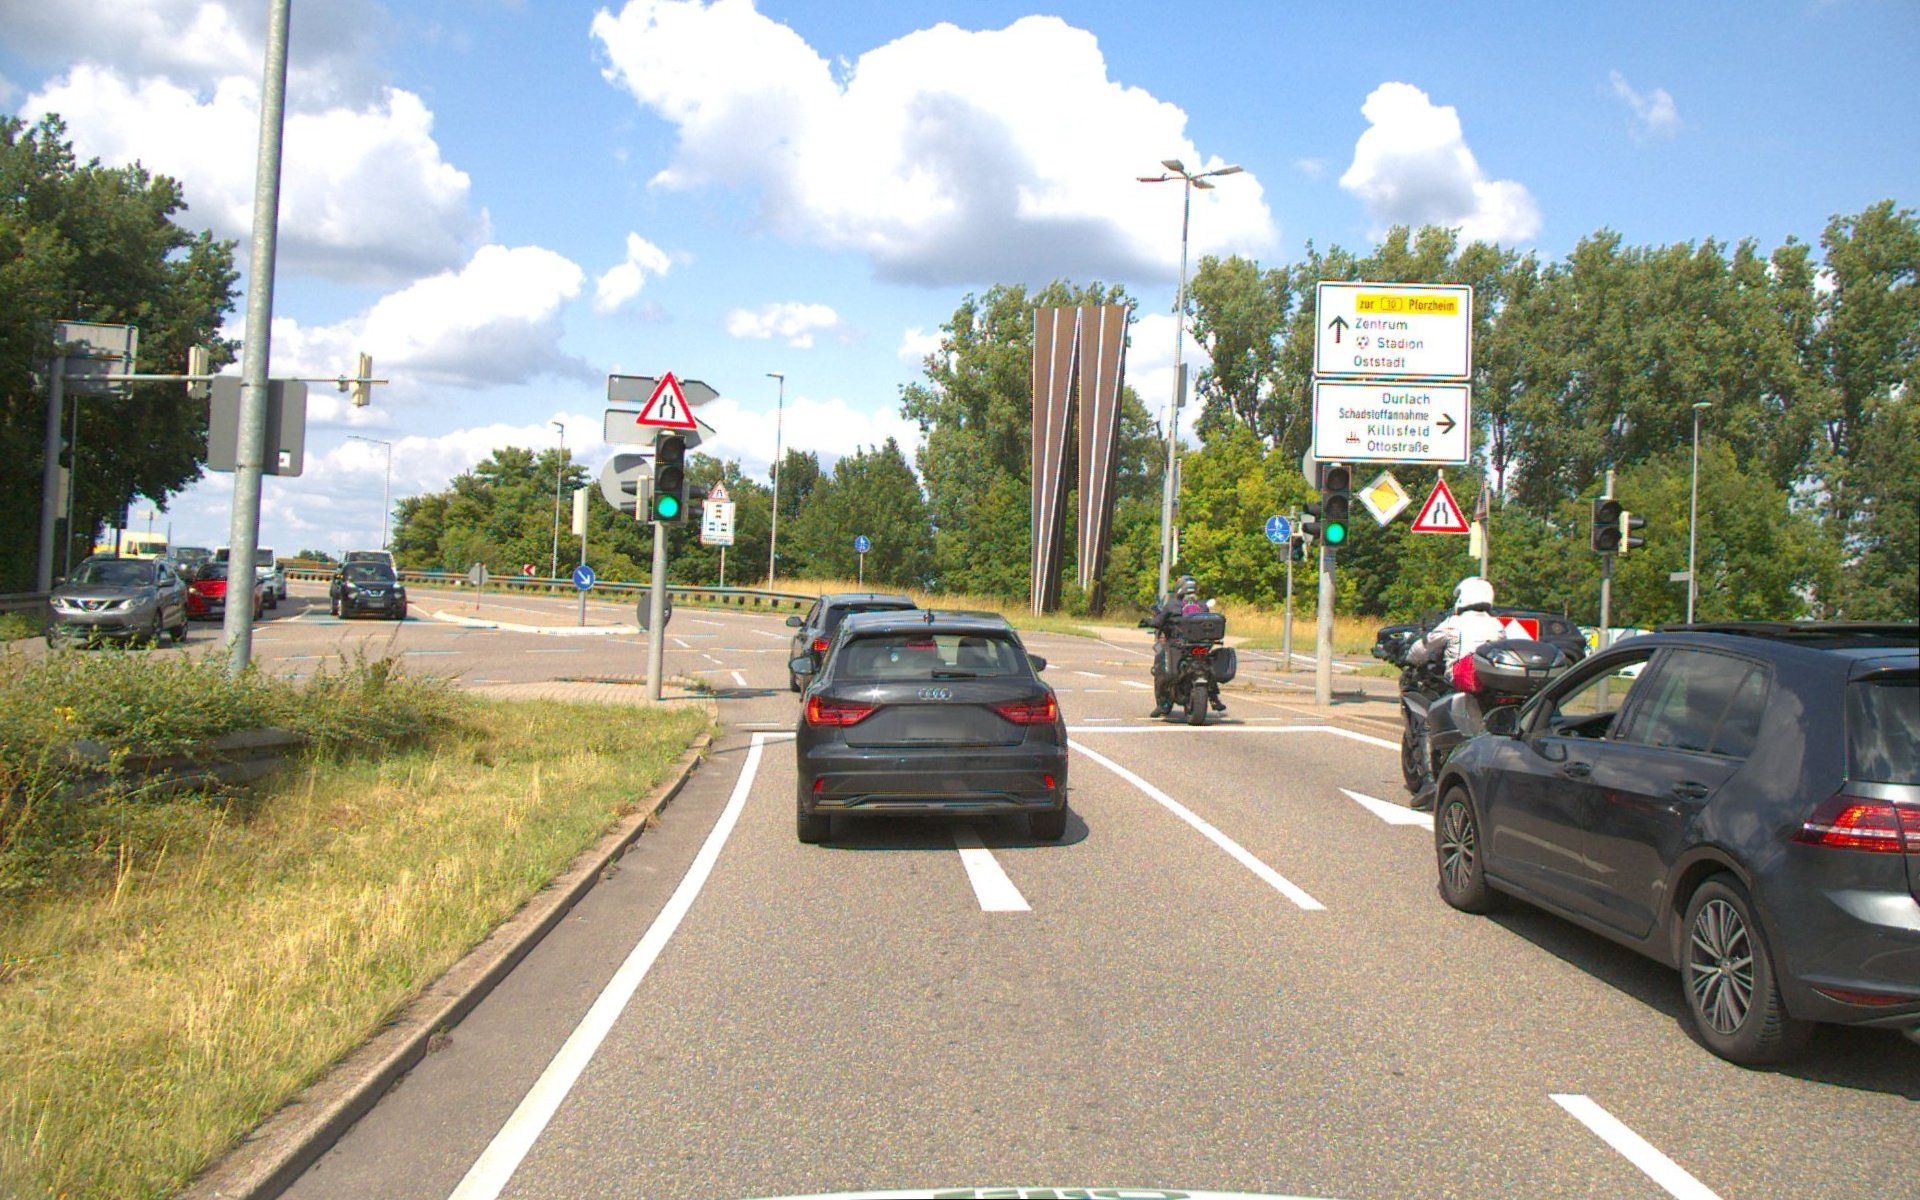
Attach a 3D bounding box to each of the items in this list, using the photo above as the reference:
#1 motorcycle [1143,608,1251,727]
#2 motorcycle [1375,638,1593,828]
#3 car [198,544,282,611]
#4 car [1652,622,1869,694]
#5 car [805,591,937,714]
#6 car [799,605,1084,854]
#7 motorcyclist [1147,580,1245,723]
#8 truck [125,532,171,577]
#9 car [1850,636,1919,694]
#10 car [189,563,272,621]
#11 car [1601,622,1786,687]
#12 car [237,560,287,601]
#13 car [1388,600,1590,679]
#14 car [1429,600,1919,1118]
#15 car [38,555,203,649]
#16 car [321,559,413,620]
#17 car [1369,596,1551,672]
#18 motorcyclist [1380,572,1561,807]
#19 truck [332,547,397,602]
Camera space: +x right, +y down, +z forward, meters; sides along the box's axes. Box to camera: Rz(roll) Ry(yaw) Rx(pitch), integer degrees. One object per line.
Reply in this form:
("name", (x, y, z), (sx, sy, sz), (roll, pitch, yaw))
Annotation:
("motorcycle", (2.776, 0.760, 19.655), (0.869, 1.269, 2.399), (2, 0, -1))
("motorcycle", (3.750, 0.901, 12.086), (0.773, 1.151, 2.399), (2, 0, -1))
("car", (-23.170, -0.715, 53.111), (1.972, 2.049, 5.085), (-1, 1, -29))
("car", (19.261, 1.384, 39.883), (4.438, 1.399, 1.645), (3, 1, -3))
("car", (-1.181, 0.645, 22.511), (1.609, 1.504, 3.870), (1, 0, -2))
("car", (-0.131, 0.762, 11.492), (1.647, 1.412, 3.738), (0, 0, -1))
("motorcyclist", (2.781, 0.593, 19.631), (0.946, 1.624, 1.124), (2, 0, -1))
("truck", (-49.617, -2.803, 101.209), (1.965, 2.666, 6.066), (0, 2, -21))
("car", (26.105, 1.791, 43.846), (4.119, 1.399, 1.700), (3, 1, -3))
("car", (-19.185, -0.217, 43.603), (1.556, 1.457, 3.980), (0, 1, -18))
("car", (19.340, 1.423, 43.714), (4.119, 1.399, 1.645), (3, 1, -3))
("car", (-26.862, -0.757, 63.637), (1.710, 1.547, 4.038), (0, 1, -24))
("car", (12.660, 0.936, 39.712), (4.196, 1.645, 1.844), (3, -1, -3))
("car", (3.370, 0.779, 6.836), (1.609, 1.504, 3.870), (1, 0, -2))
("car", (-15.475, 0.019, 30.703), (1.680, 1.613, 4.269), (0, 1, -12))
("car", (-16.705, -0.315, 46.495), (1.681, 1.584, 3.781), (1, 1, -32))
("car", (13.034, 0.874, 43.262), (4.119, 1.674, 1.837), (3, 1, -3))
("motorcyclist", (3.779, 0.636, 12.340), (0.946, 1.648, 1.124), (2, 0, -1))
("truck", (-22.616, -0.986, 62.700), (1.935, 1.946, 5.331), (1, 1, -24))
